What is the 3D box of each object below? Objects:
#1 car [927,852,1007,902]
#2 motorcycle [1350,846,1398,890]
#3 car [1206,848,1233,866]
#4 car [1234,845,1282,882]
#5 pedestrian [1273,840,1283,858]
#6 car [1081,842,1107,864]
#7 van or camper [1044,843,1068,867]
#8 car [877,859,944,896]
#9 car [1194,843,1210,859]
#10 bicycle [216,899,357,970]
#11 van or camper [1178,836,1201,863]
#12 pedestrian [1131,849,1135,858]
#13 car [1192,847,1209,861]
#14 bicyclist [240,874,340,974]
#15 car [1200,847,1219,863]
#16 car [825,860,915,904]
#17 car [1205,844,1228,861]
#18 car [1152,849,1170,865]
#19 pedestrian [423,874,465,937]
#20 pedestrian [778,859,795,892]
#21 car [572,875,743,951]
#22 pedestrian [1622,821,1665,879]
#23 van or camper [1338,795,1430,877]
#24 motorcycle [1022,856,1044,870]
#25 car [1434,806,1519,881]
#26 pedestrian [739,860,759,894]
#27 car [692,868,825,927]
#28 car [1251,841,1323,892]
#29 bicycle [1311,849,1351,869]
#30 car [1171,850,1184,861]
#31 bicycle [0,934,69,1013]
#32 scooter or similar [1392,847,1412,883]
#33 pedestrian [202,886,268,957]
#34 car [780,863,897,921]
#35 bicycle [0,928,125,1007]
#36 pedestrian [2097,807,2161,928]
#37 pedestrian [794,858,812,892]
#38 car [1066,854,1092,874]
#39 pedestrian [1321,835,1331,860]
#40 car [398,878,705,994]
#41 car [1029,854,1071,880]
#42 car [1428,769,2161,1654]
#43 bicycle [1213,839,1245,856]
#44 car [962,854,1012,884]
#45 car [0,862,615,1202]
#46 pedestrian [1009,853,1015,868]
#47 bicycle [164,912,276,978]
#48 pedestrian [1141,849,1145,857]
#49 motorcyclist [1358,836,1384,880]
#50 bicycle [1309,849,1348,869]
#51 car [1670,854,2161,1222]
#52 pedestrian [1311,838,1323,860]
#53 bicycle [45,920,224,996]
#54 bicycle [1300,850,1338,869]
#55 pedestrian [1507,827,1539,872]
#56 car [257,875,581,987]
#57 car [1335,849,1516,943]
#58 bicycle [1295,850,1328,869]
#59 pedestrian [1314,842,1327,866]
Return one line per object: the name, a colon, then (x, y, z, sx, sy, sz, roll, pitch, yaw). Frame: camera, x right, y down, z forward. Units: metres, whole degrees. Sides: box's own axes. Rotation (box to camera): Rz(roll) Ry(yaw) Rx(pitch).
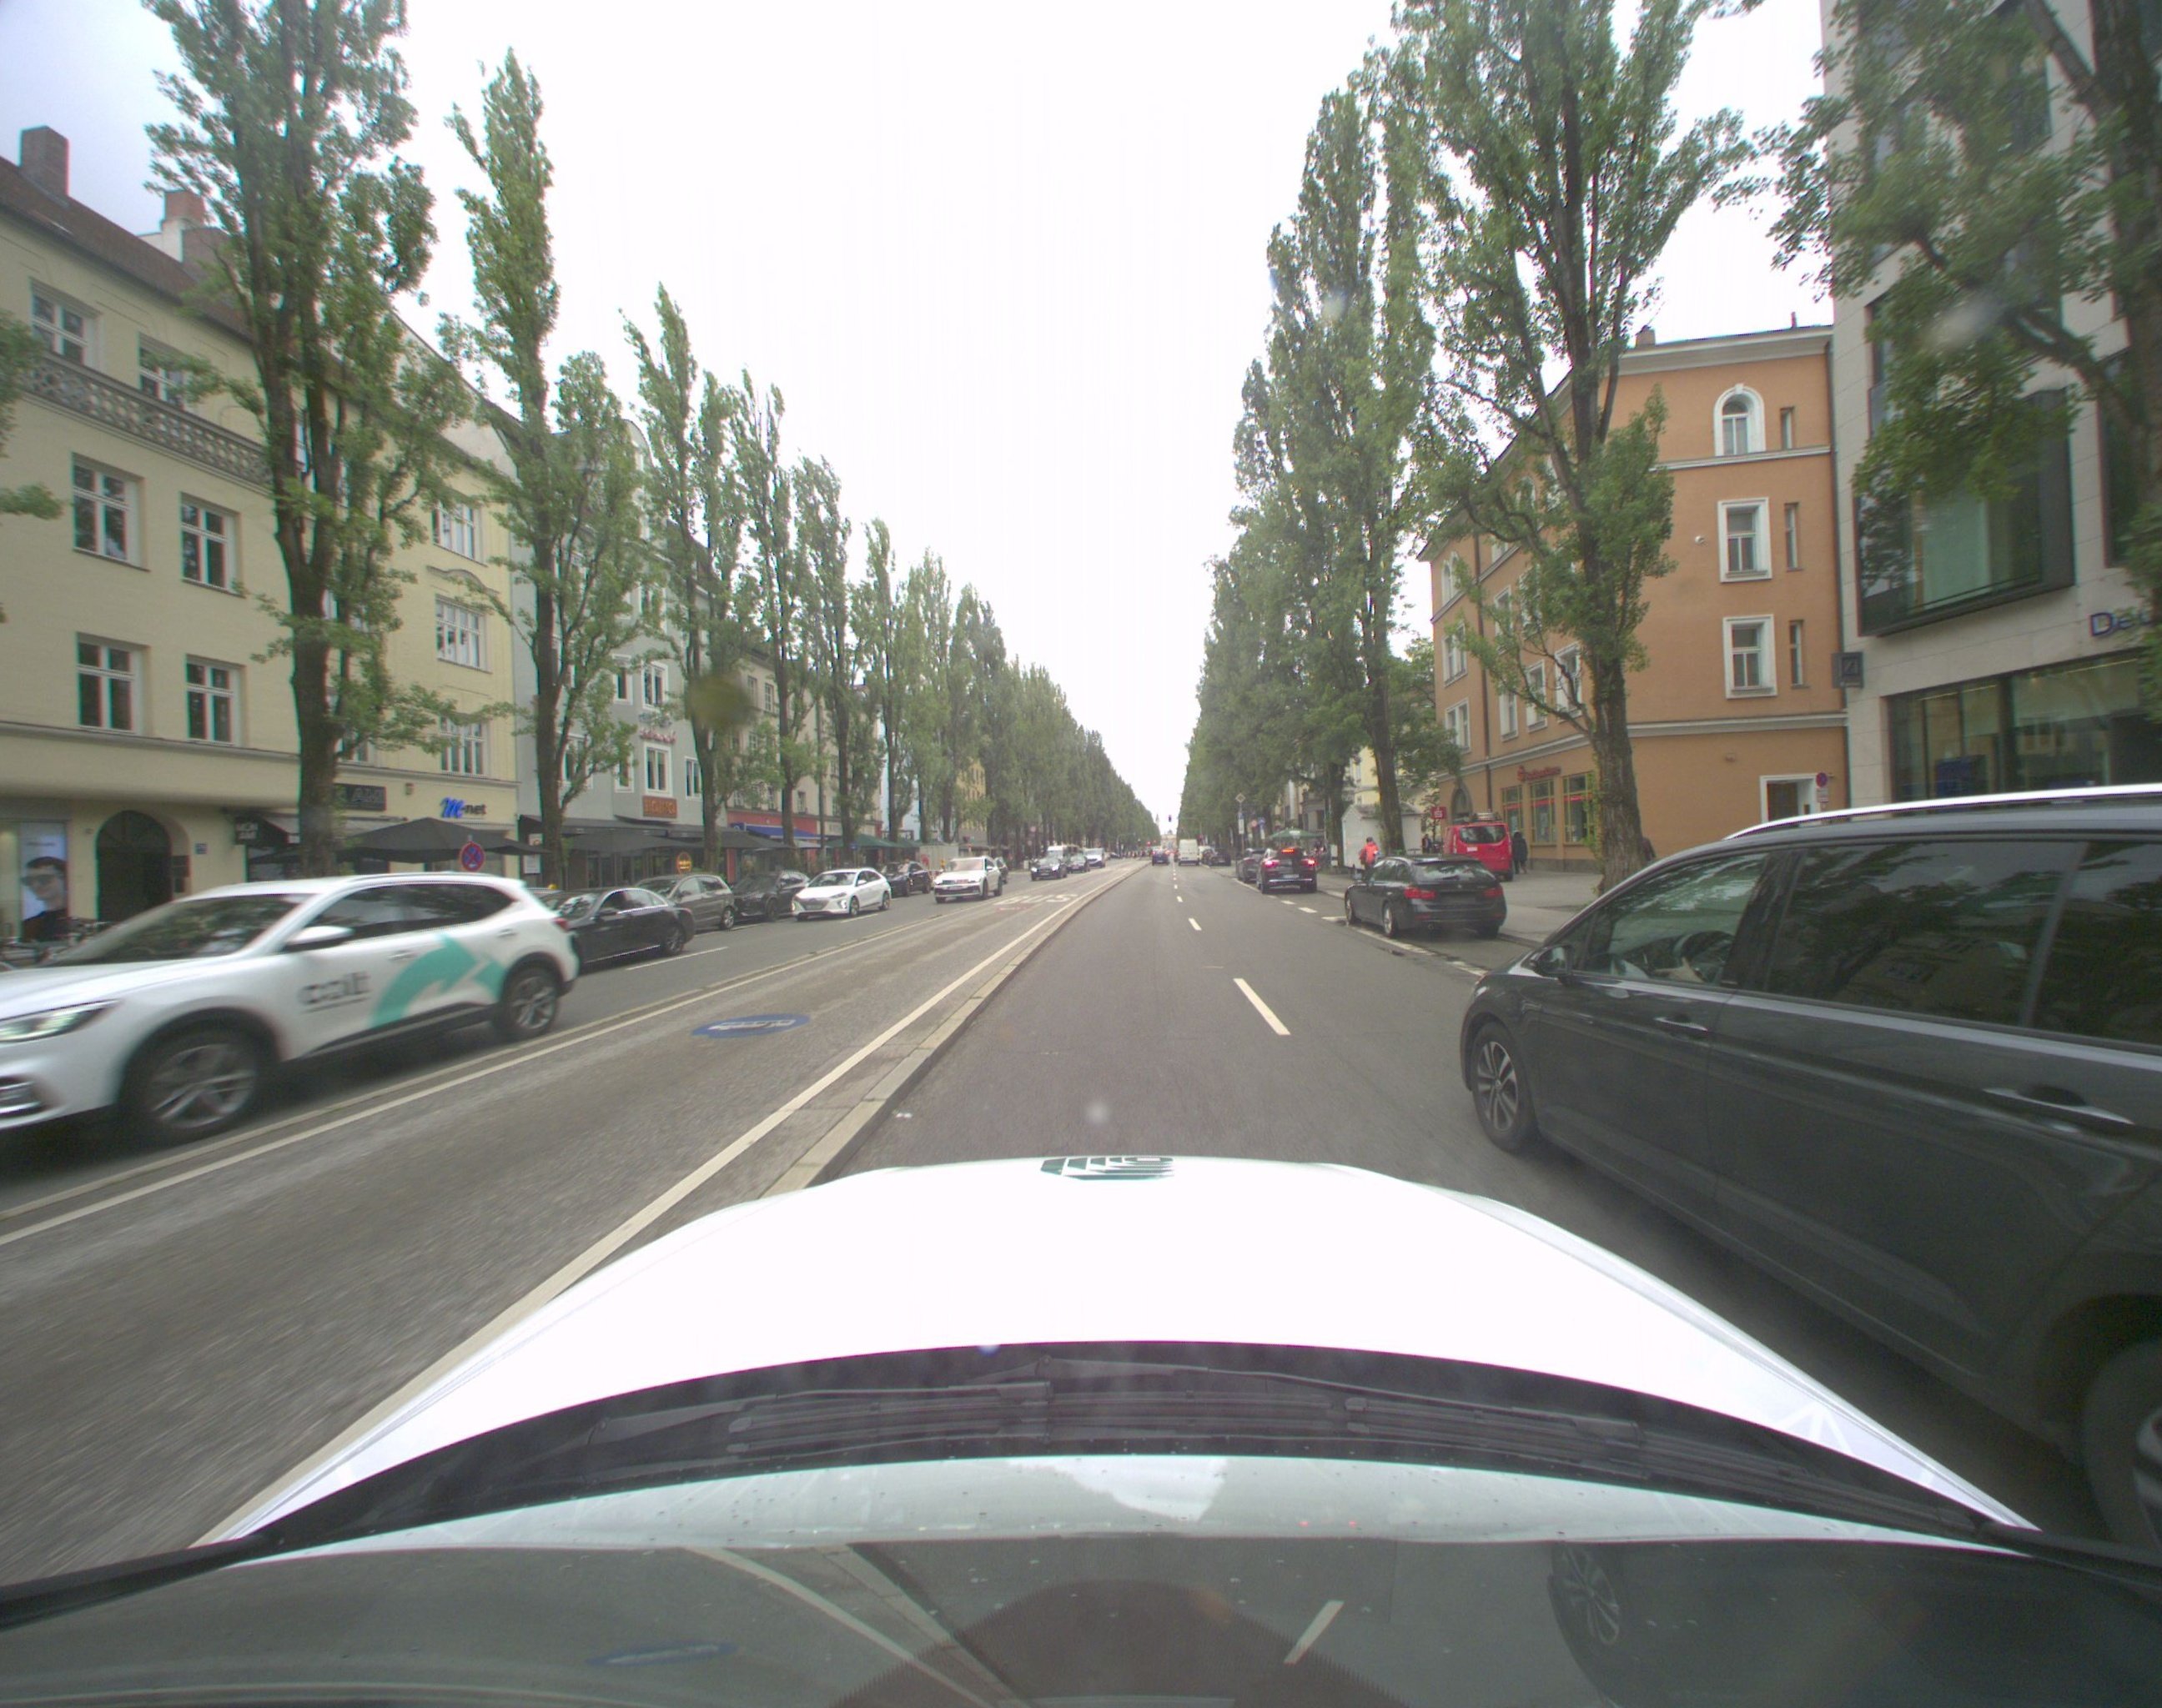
car: (-4.239, 0.806, 31.017, 1.930, 1.642, 4.470, -3, 0, 5)
motorcycle: (9.805, 0.455, 27.355, 0.823, 1.370, 2.254, -3, 0, 2)
car: (12.045, 0.261, 71.111, 1.934, 1.467, 4.006, -3, 0, 5)
car: (8.178, 0.385, 37.966, 1.616, 1.565, 4.378, -2, 0, 5)
pedestrian: (19.527, -0.525, 80.631, 0.809, 1.755, 0.935, -3, 0, 7)
car: (1.351, -0.082, 80.502, 1.984, 1.934, 4.926, -4, -1, 6)
van or camper: (-2.767, 0.099, 91.236, 1.984, 2.458, 4.258, -2, 0, 6)
car: (-8.368, 1.115, 40.359, 1.838, 1.564, 4.342, -3, 1, 7)
car: (15.404, -0.355, 103.421, 1.796, 1.992, 4.006, -1, -1, 6)
bicycle: (-13.447, 1.328, 13.857, 0.506, 1.006, 1.770, -3, 0, 5)
van or camper: (10.670, -0.383, 79.954, 2.024, 2.475, 4.006, -2, -1, 6)
pedestrian: (10.550, -0.162, 165.406, 0.550, 1.716, 0.494, -3, 0, 6)
car: (14.281, -0.024, 97.448, 1.754, 1.596, 4.006, -1, -1, 6)
bicyclist: (-13.451, 1.165, 13.880, 0.494, 1.580, 1.109, -3, 0, 5)
car: (13.544, 0.142, 85.971, 1.796, 1.596, 4.006, -1, -1, 6)
car: (-8.922, 1.139, 34.883, 1.983, 1.596, 4.901, -3, 0, 7)
car: (12.763, -0.122, 76.820, 1.776, 1.524, 3.947, -2, 0, 6)
car: (8.266, 0.319, 83.515, 1.750, 1.619, 3.753, -1, -1, 6)
pedestrian: (-18.387, 1.477, 23.522, 0.536, 1.747, 0.756, -2, 0, 6)
pedestrian: (-16.836, 1.222, 46.571, 0.635, 1.862, 0.649, -3, 0, 5)
car: (-10.480, 1.395, 20.531, 1.795, 1.519, 4.007, -3, 0, 6)
pedestrian: (15.706, -0.102, 22.753, 0.607, 1.551, 0.709, -4, 0, -22)
van or camper: (12.690, -0.708, 34.458, 2.447, 3.112, 4.724, -3, 0, 7)
motorcycle: (-4.574, 0.851, 78.091, 1.230, 1.140, 3.728, -2, 0, 11)
car: (13.749, -0.378, 28.582, 1.886, 2.328, 4.847, -3, 0, 18)
pedestrian: (-17.053, 1.181, 41.811, 0.635, 1.700, 0.649, -3, 0, 5)
car: (-9.978, 1.281, 25.634, 1.983, 1.482, 4.328, -3, 0, 7)
car: (7.305, 0.400, 29.303, 1.871, 1.642, 4.592, -3, 0, 7)
bicycle: (13.882, 0.281, 45.315, 2.039, 1.023, 0.693, -2, 0, 13)
car: (11.971, 0.186, 101.222, 1.496, 1.313, 3.288, -2, 0, 6)
bicycle: (-15.806, 1.746, 11.681, 1.634, 1.041, 0.622, -3, 0, -5)
scooter or similar: (11.482, 0.385, 29.172, 0.521, 1.232, 1.484, -4, 0, 18)
pedestrian: (-19.910, 1.577, 19.181, 0.630, 1.561, 0.817, -2, 0, 7)
car: (-7.485, 1.134, 25.628, 1.930, 1.493, 4.463, -3, 0, 5)
bicycle: (-15.821, 1.730, 12.402, 1.634, 1.041, 0.622, -3, 0, -5)
pedestrian: (14.843, 0.163, 11.158, 0.733, 1.621, 0.838, -3, 0, 2)
pedestrian: (-15.928, 1.200, 46.659, 0.635, 1.862, 0.649, -3, 0, 5)
car: (-0.129, 0.794, 65.228, 1.703, 1.414, 3.728, -3, 0, 5)
pedestrian: (18.635, -0.460, 61.964, 0.696, 1.873, 0.769, -1, -1, 15)
car: (-8.750, 1.268, 14.085, 1.929, 1.434, 4.547, -3, 0, 6)
car: (-1.925, 0.768, 52.132, 1.984, 1.432, 4.780, -3, 0, 6)
car: (2.877, 0.632, 2.708, 1.754, 1.613, 4.186, -1, 0, 2)
bicycle: (17.723, -0.783, 97.514, 3.523, 2.014, 1.302, -1, -1, 14)
car: (-5.294, 0.829, 46.374, 1.839, 1.564, 4.219, -3, -1, 6)
car: (-6.264, 1.022, 6.661, 1.851, 1.711, 4.543, -3, 0, 6)
pedestrian: (-8.786, 0.862, 103.868, 0.579, 1.856, 0.676, -2, 0, 5)
bicycle: (-15.564, 1.646, 14.717, 2.108, 1.101, 0.507, -3, 0, 18)
pedestrian: (12.577, -0.195, 165.093, 0.550, 1.716, 0.494, -3, 0, 6)
motorcyclist: (9.741, 0.136, 27.371, 0.562, 1.406, 0.766, -3, 0, 2)
bicycle: (14.314, 0.293, 47.089, 2.050, 1.023, 0.690, -2, 0, -5)
car: (5.362, 0.760, 4.008, 1.839, 1.428, 4.428, -2, 0, 3)
pedestrian: (20.395, -0.397, 70.271, 0.757, 1.853, 0.741, -3, 0, 3)
bicycle: (-15.514, 1.698, 13.386, 2.004, 1.041, 0.622, -3, 0, -5)
bicycle: (14.107, 0.310, 48.314, 2.056, 1.023, 0.688, -2, 0, -14)
pedestrian: (16.578, -0.181, 30.582, 0.726, 1.626, 0.806, -3, 0, 5)
car: (-11.492, 1.239, 14.633, 1.929, 1.493, 4.304, -3, 0, 7)
car: (6.159, 0.659, 15.156, 1.725, 1.394, 4.438, -3, 0, 4)
bicycle: (13.996, 0.324, 49.444, 2.067, 1.023, 0.684, -2, 0, -30)
pedestrian: (17.007, 0.016, 57.920, 0.662, 1.650, 0.630, -2, 0, 33)
